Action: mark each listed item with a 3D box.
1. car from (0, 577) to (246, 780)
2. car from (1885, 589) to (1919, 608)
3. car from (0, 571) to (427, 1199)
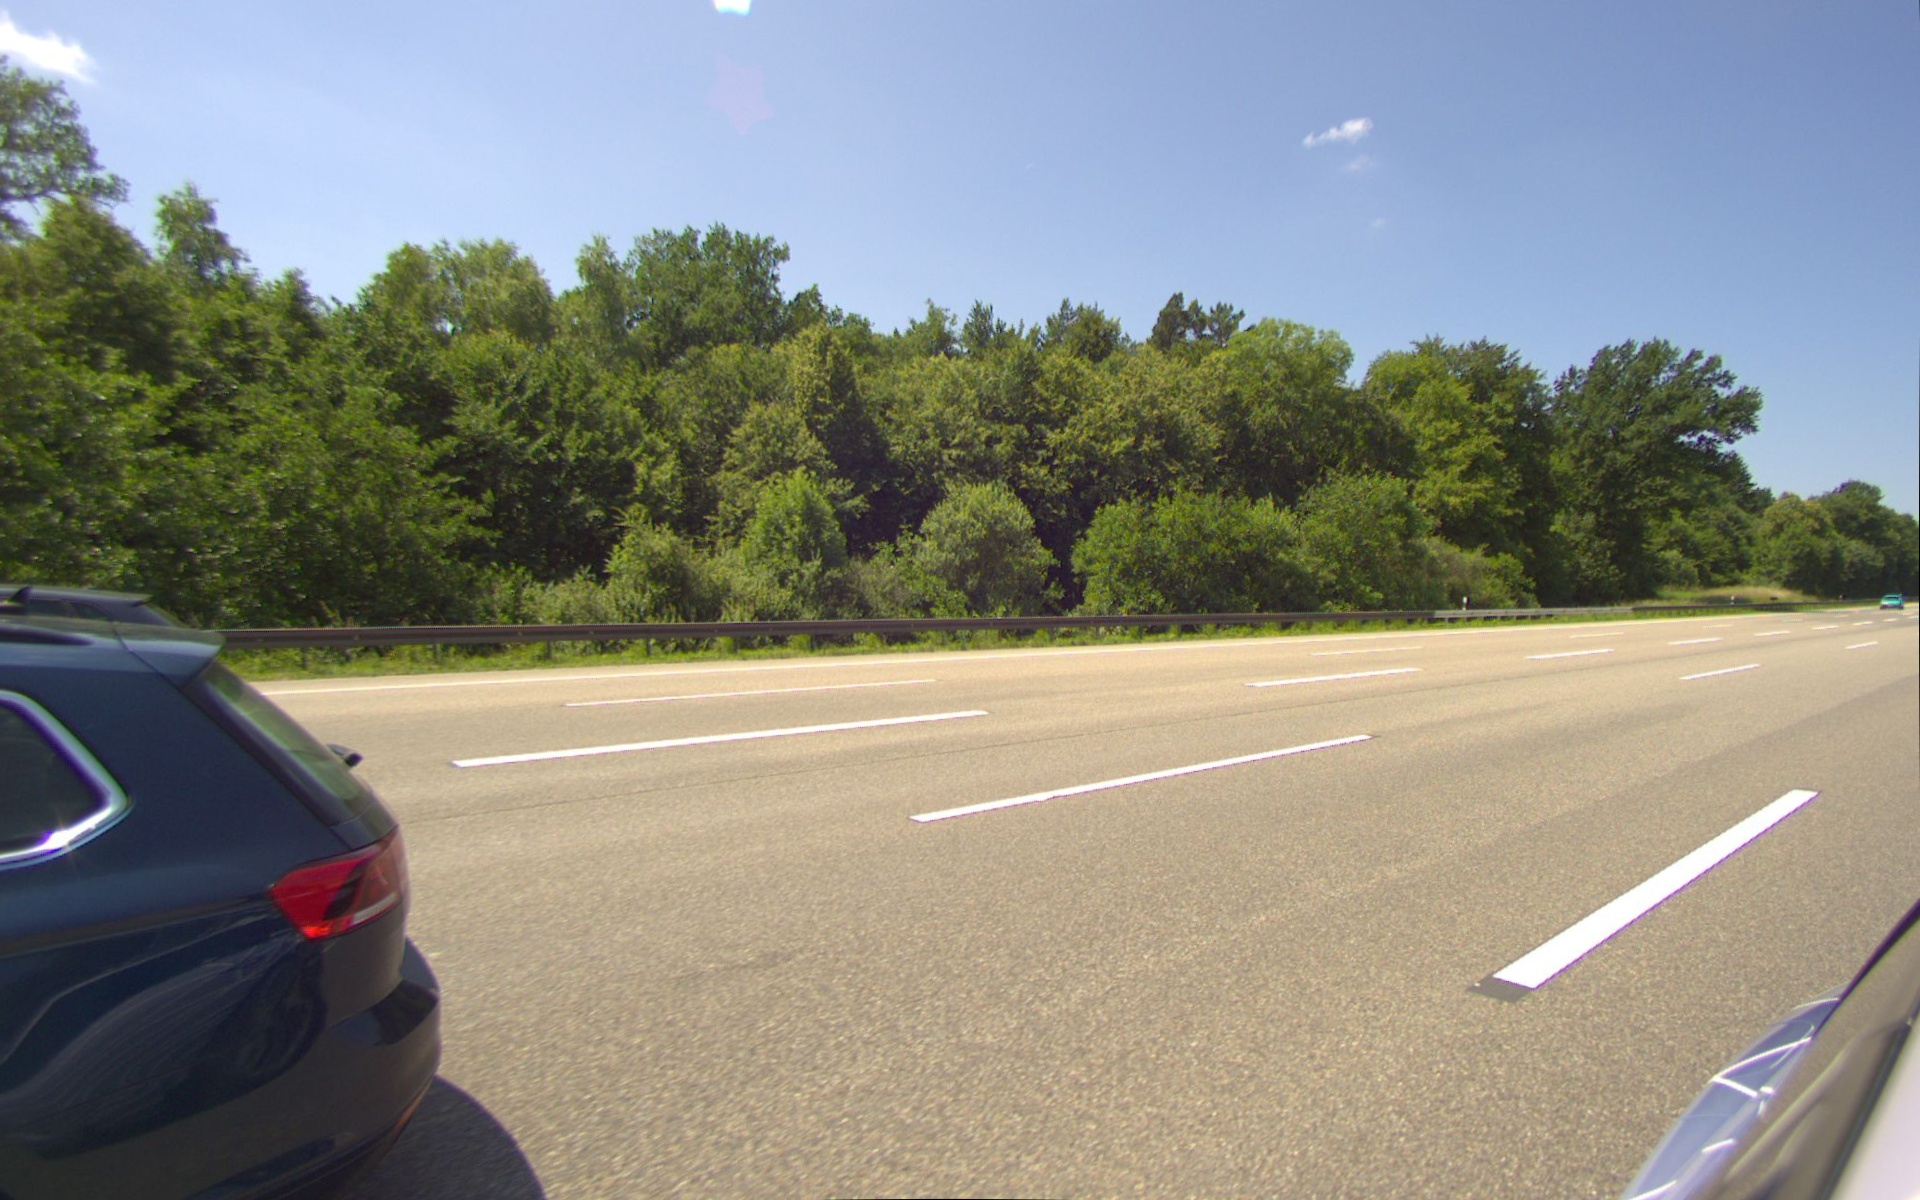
[{"bbox_3d":[-8.061,0.553,7.353,4.554,1.457,1.645,1,0,-41],"label":"car"},{"bbox_3d":[93.767,-0.176,100.615,4.053,1.701,1.999,0,3,-39],"label":"car"},{"bbox_3d":[-3.412,0.674,0.984,4.873,1.465,1.733,0,1,-40],"label":"car"}]
